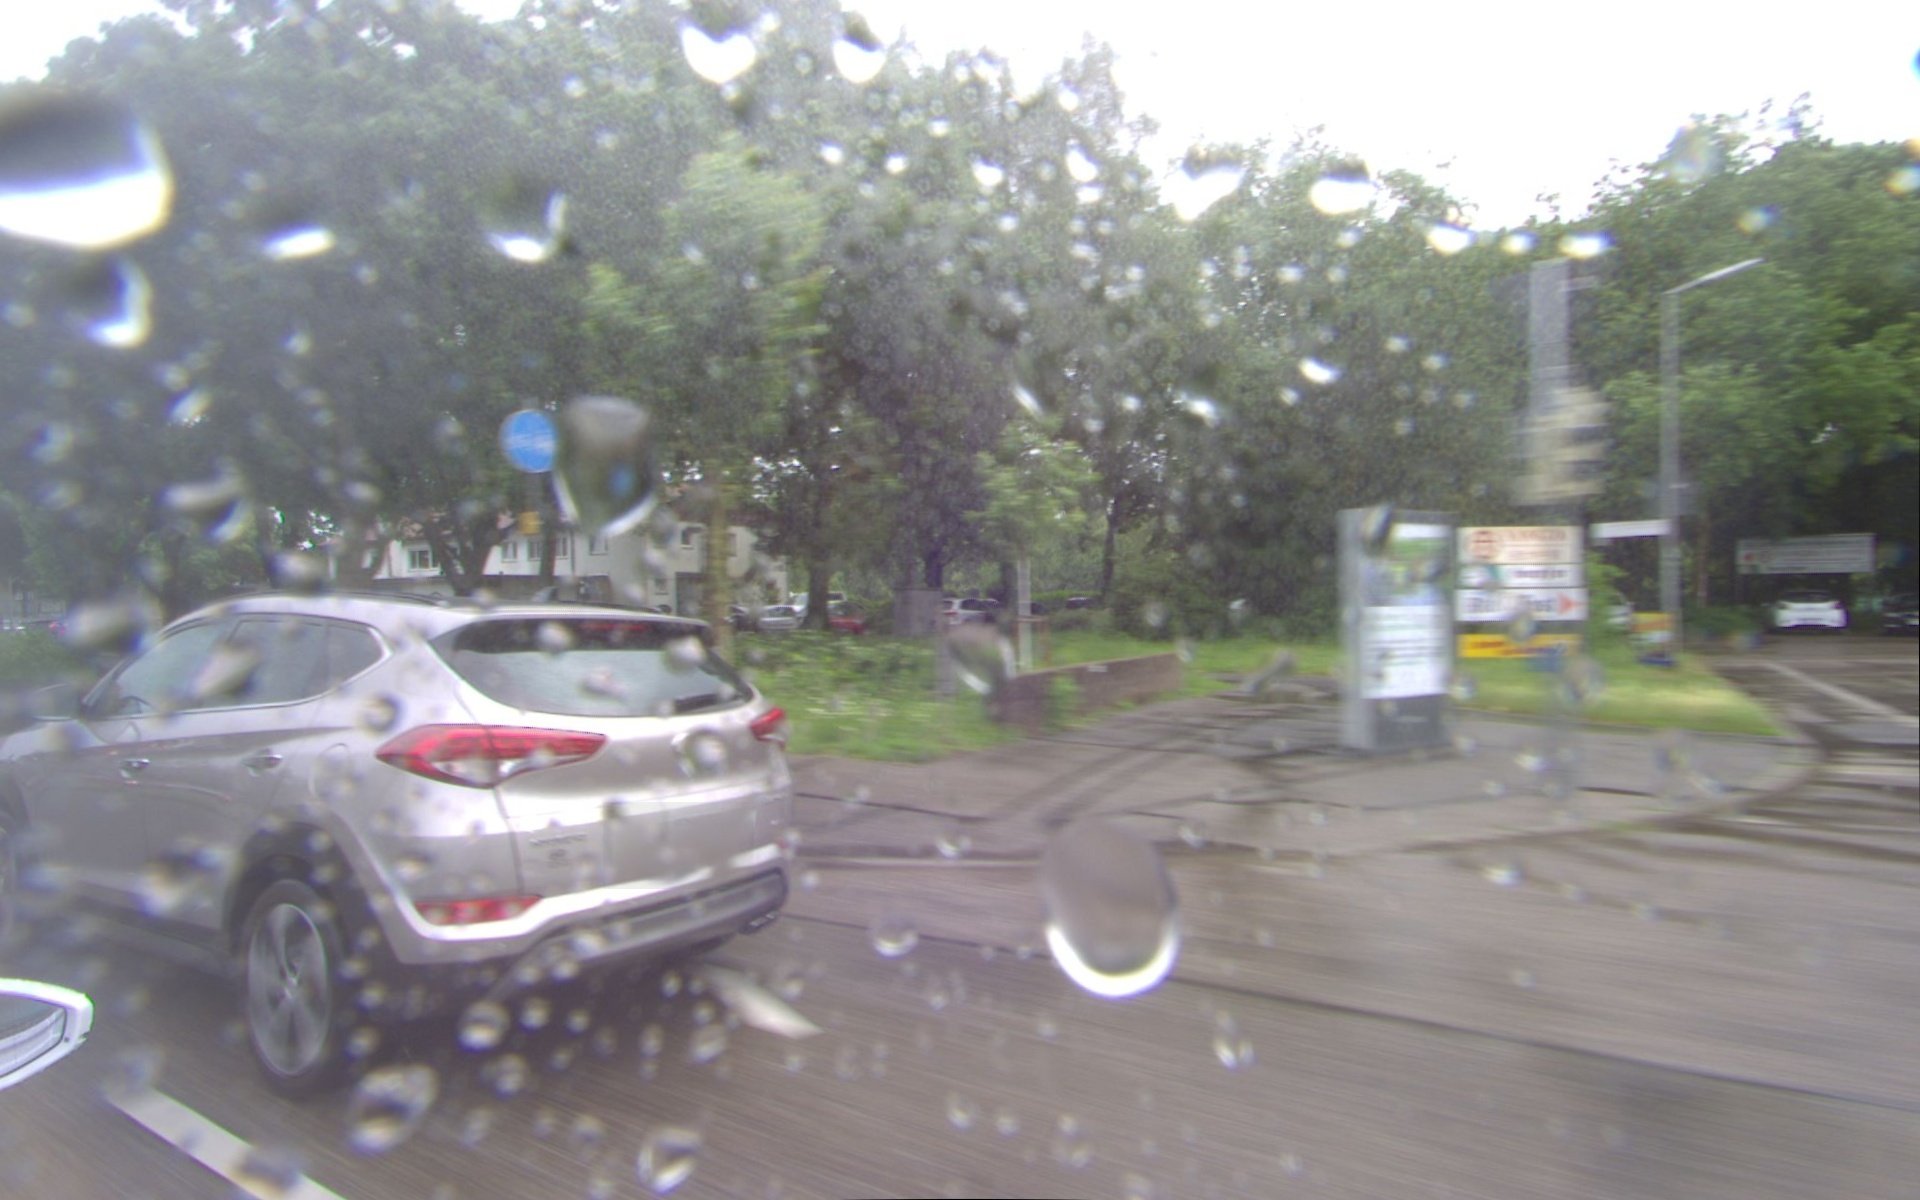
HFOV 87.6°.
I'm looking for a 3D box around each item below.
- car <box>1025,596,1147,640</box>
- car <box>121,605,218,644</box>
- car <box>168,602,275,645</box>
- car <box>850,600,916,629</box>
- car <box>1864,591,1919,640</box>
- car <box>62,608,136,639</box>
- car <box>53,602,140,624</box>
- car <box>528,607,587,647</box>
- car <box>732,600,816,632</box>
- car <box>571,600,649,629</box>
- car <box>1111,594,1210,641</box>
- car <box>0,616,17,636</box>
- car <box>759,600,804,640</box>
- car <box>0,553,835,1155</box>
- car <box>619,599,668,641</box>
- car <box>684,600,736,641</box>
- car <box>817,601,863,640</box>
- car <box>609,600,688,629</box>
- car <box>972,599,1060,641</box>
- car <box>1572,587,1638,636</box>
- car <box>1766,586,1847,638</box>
[{"bbox_3d":[4.610,0.701,35.880,2.138,1.467,5.387,-1,-2,34],"label":"car"},{"bbox_3d":[-36.866,1.138,46.663,4.573,1.740,1.990,-1,0,30],"label":"car"},{"bbox_3d":[-32.226,1.029,43.688,4.806,1.740,1.990,-1,0,30],"label":"car"},{"bbox_3d":[-4.143,0.819,54.421,1.709,1.474,3.986,-1,-2,27],"label":"car"},{"bbox_3d":[30.472,0.527,31.936,1.900,1.508,4.171,-1,-2,35],"label":"car"},{"bbox_3d":[-43.463,1.229,50.528,4.012,1.505,1.636,-1,-2,30],"label":"car"},{"bbox_3d":[-62.154,0.944,72.153,1.916,1.502,4.332,-1,-2,28],"label":"car"},{"bbox_3d":[-14.527,0.984,36.245,1.497,1.369,3.386,0,-2,-14],"label":"car"},{"bbox_3d":[-9.234,0.821,49.543,4.059,1.519,1.748,-1,-2,34],"label":"car"},{"bbox_3d":[-17.140,0.731,49.005,3.646,1.332,1.570,-1,-2,29],"label":"car"},{"bbox_3d":[7.083,0.649,35.072,1.859,1.544,3.973,-1,-2,37],"label":"car"},{"bbox_3d":[-85.150,2.250,86.829,1.969,1.727,4.568,-1,-2,28],"label":"car"},{"bbox_3d":[-6.912,0.824,38.840,1.638,1.467,3.751,0,-2,-10],"label":"car"},{"bbox_3d":[-2.792,0.764,4.633,4.135,1.630,1.882,-1,-3,32],"label":"car"},{"bbox_3d":[-11.732,0.763,37.012,1.641,1.467,3.745,0,-2,-19],"label":"car"},{"bbox_3d":[-9.648,0.816,38.521,1.641,1.467,3.745,0,-2,-19],"label":"car"},{"bbox_3d":[-4.766,0.845,39.499,1.573,1.467,3.751,0,-2,-10],"label":"car"},{"bbox_3d":[-15.841,0.776,50.893,3.940,1.403,1.582,-1,-2,30],"label":"car"},{"bbox_3d":[2.117,0.768,37.114,1.647,1.467,3.702,-1,-2,33],"label":"car"},{"bbox_3d":[23.319,0.469,36.319,1.898,1.651,4.579,-1,-2,32],"label":"car"},{"bbox_3d":[28.247,0.452,33.500,1.697,1.617,3.648,-1,-2,35],"label":"car"}]
